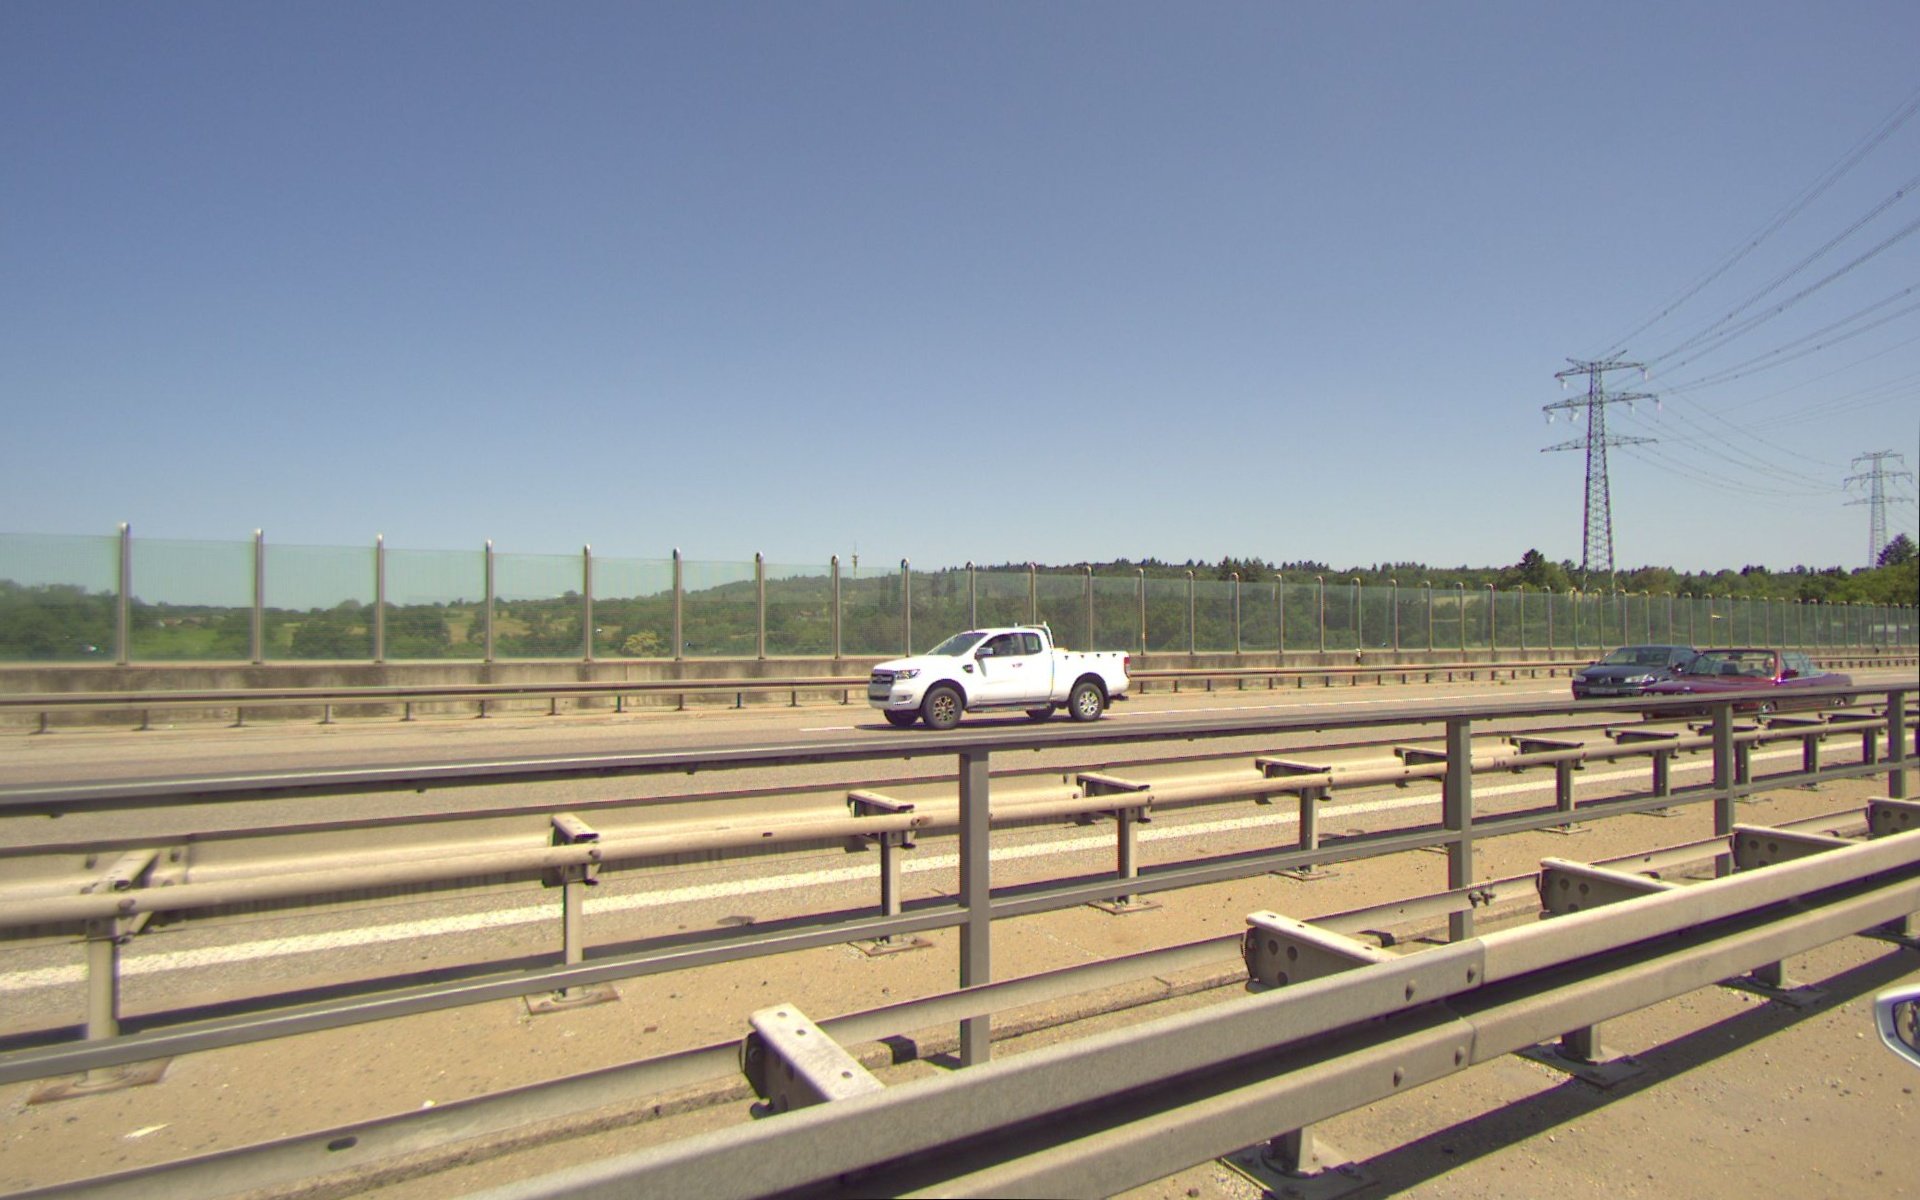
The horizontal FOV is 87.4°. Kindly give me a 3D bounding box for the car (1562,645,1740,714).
[{"bbox_3d":[15.150,1.687,21.980,4.130,1.368,1.590,1,-3,-31],"label":"car"}]

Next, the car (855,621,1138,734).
[{"bbox_3d":[0.769,1.379,19.237,5.195,1.910,1.984,1,-2,-31],"label":"car"}]

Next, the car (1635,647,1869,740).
[{"bbox_3d":[13.073,1.457,16.525,4.291,1.335,1.590,1,-3,-31],"label":"car"}]
